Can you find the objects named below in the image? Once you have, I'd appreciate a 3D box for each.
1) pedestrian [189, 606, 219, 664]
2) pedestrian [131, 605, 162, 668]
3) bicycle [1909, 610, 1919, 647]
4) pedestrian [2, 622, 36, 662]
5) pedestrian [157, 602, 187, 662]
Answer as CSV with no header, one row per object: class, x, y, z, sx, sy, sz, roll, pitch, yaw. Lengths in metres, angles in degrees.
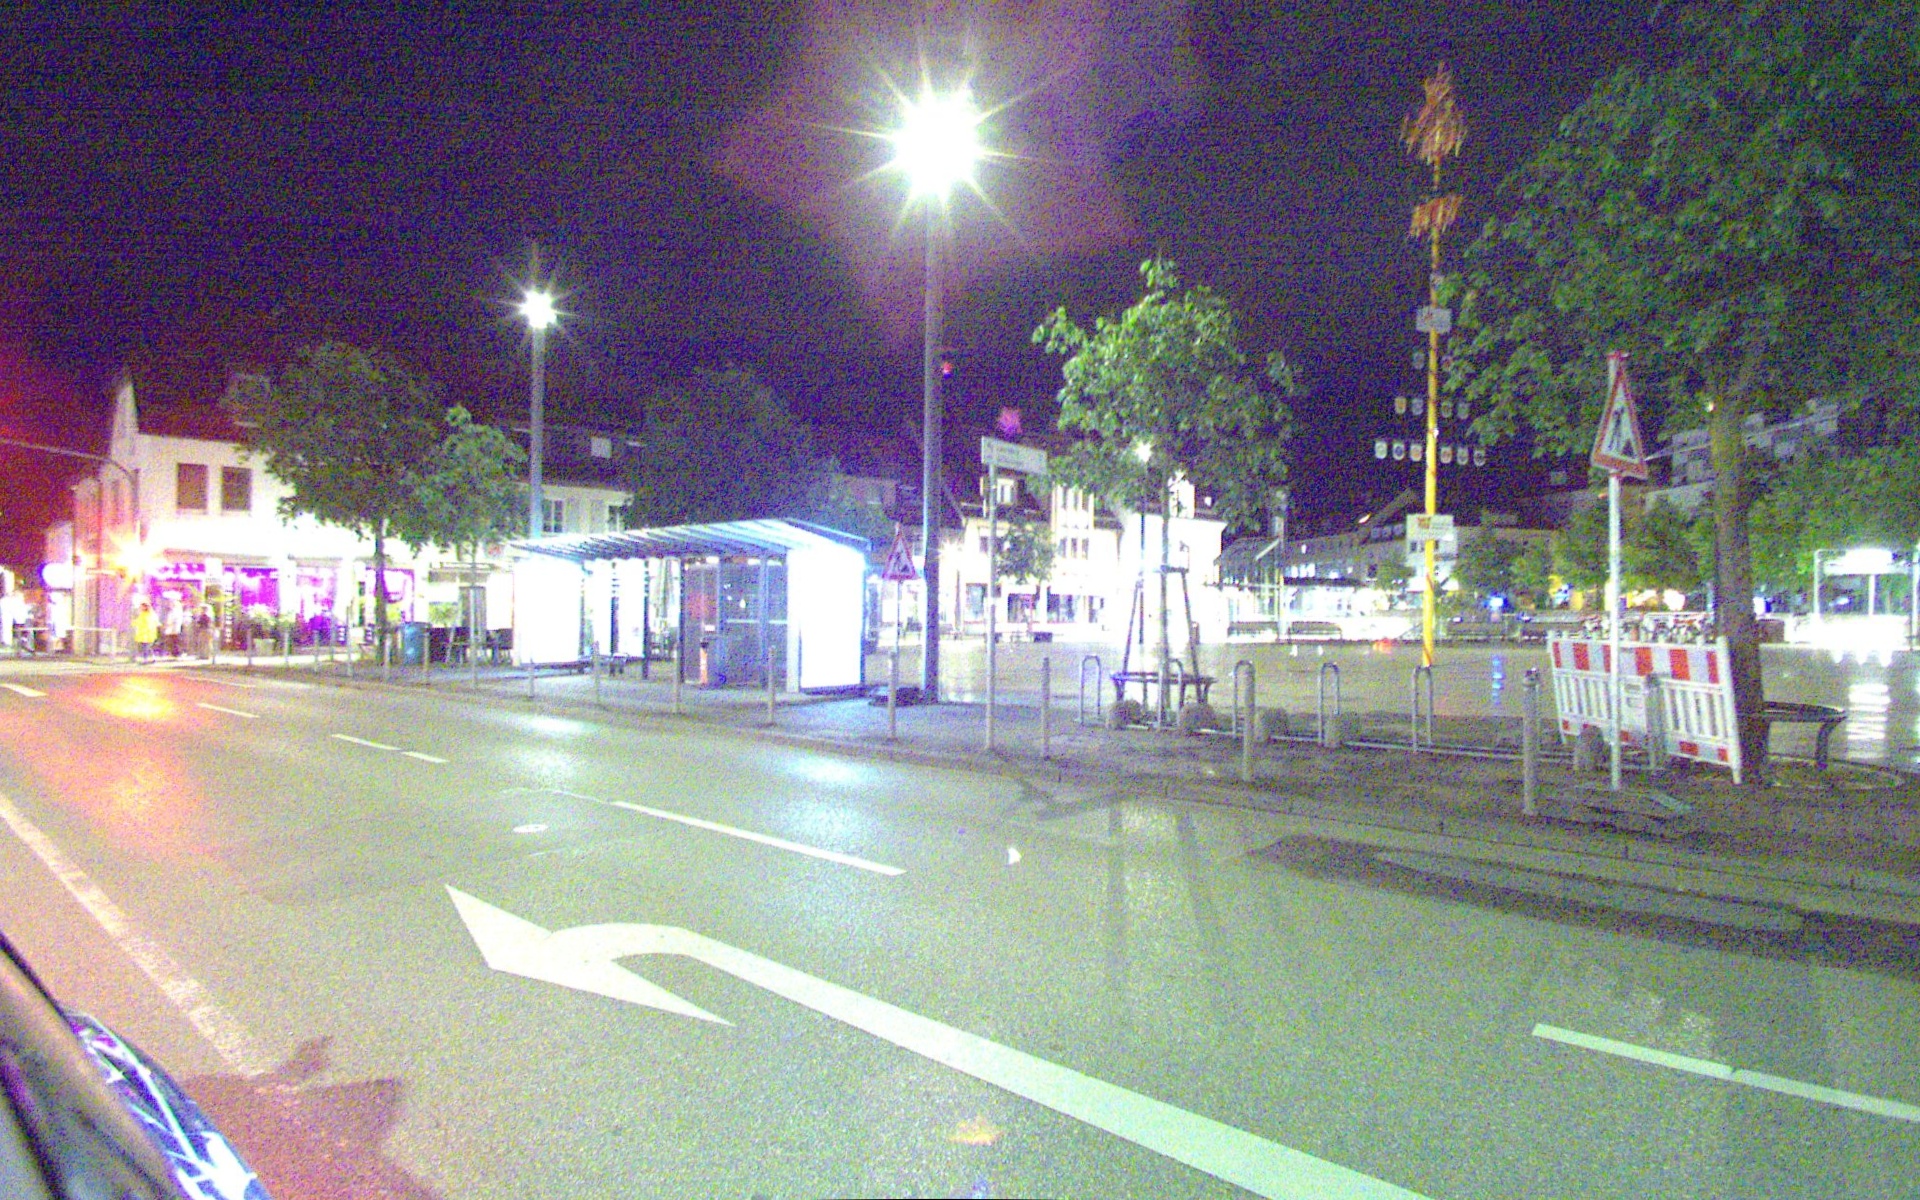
pedestrian,-22.167,1.014,29.681,0.573,1.640,0.649,-1,0,-27
pedestrian,-22.262,0.989,27.709,0.531,1.694,0.649,-1,0,-27
bicycle,26.408,0.756,26.972,1.525,0.965,0.476,-1,0,25
pedestrian,-36.104,1.614,38.855,0.816,1.507,0.649,2,-2,-33
pedestrian,-22.819,0.915,29.323,0.573,1.694,0.649,-1,0,-27
